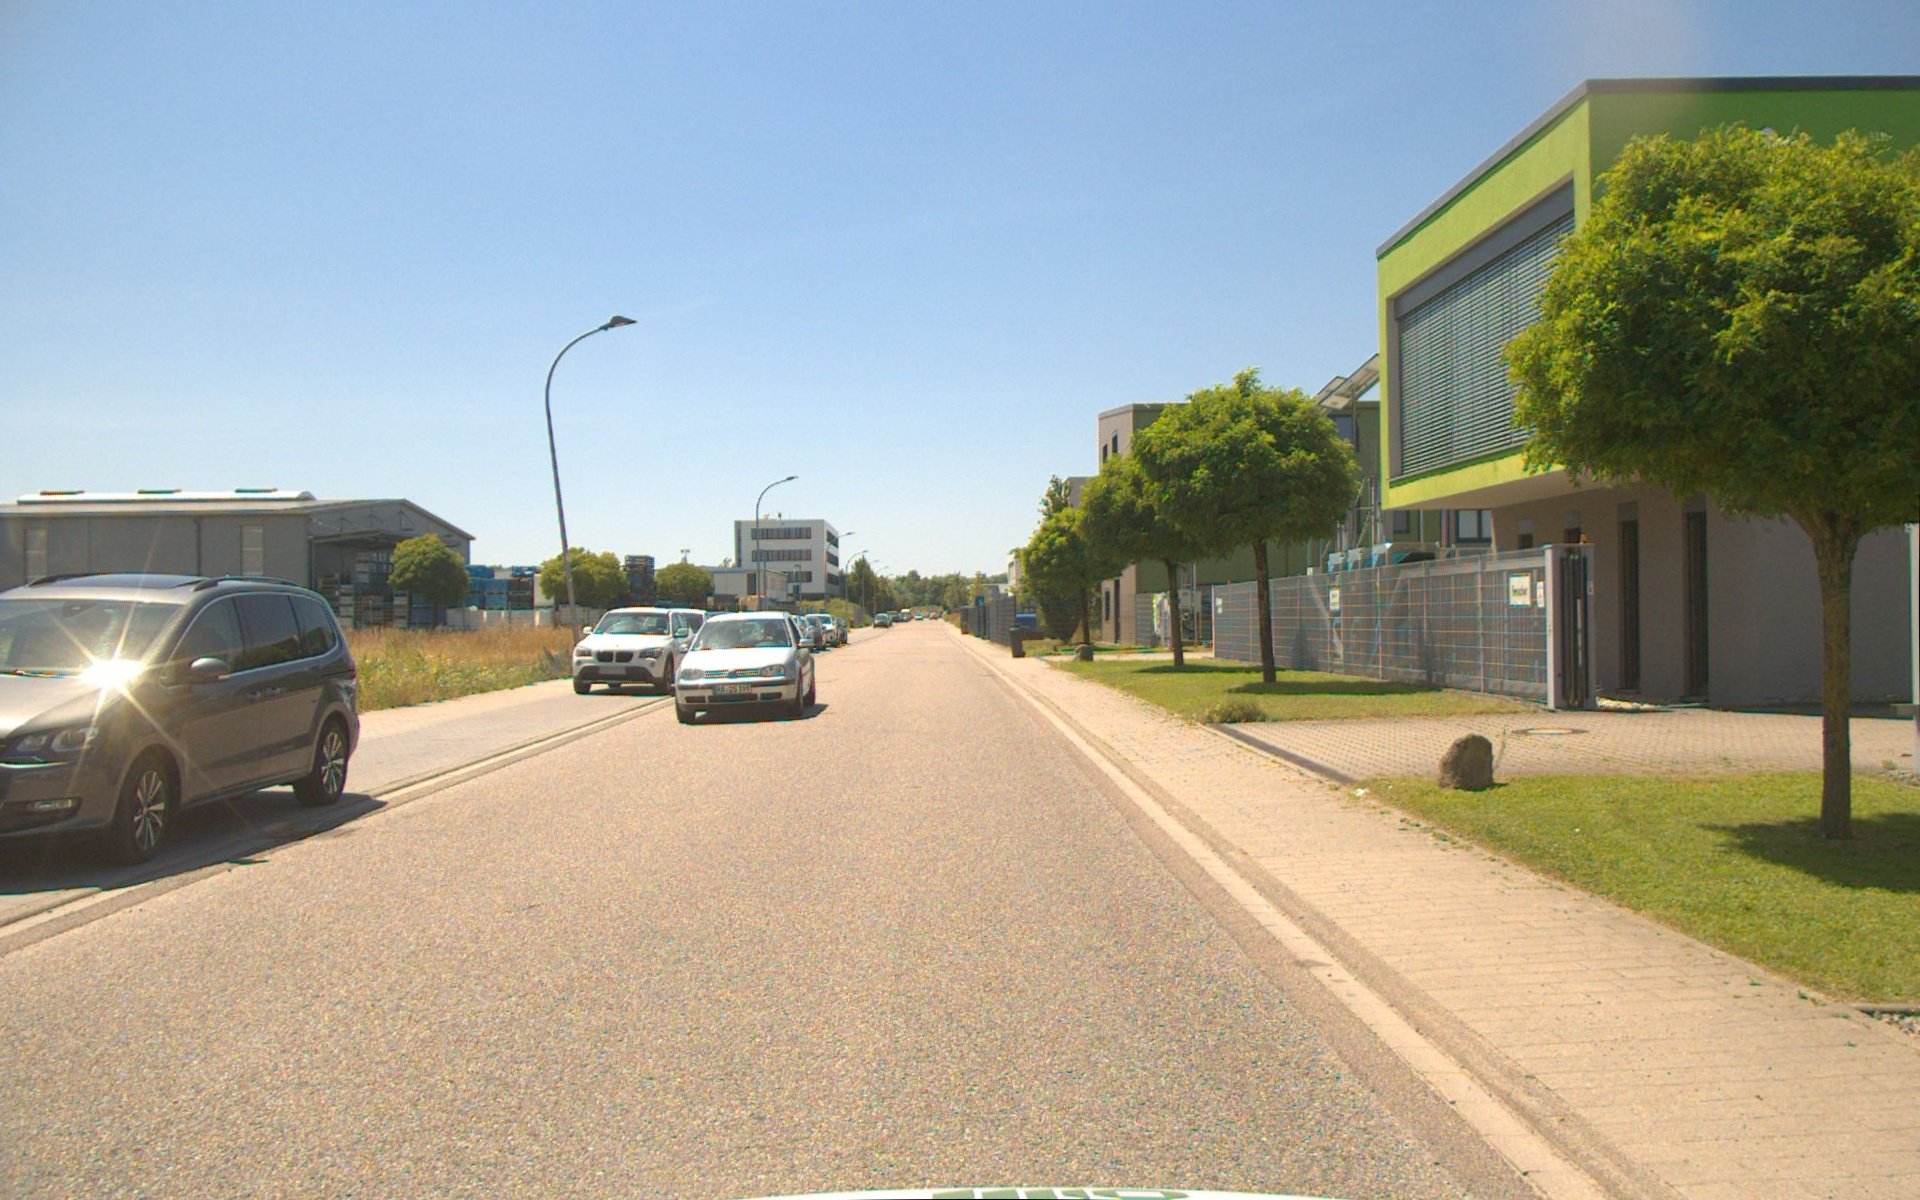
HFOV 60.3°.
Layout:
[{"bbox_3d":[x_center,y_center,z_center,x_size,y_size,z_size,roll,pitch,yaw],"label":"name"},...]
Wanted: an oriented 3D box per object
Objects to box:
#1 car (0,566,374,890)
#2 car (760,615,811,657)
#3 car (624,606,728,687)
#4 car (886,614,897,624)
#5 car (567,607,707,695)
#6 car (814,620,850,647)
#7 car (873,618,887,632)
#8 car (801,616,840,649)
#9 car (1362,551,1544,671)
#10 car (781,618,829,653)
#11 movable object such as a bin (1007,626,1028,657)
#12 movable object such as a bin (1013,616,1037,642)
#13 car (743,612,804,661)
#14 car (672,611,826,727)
[{"bbox_3d":[-5.666,0.699,11.241,1.766,1.750,4.621,1,0,-1],"label":"car"},{"bbox_3d":[-6.660,1.377,63.496,1.659,1.552,3.733,0,-1,-2],"label":"car"},{"bbox_3d":[-6.185,0.993,36.396,1.751,1.685,3.767,0,-1,-2],"label":"car"},{"bbox_3d":[-10.077,2.770,243.471,1.611,1.516,3.206,-1,-1,-1],"label":"car"},{"bbox_3d":[-6.060,0.925,31.479,1.750,1.569,4.364,0,-1,1],"label":"car"},{"bbox_3d":[-7.241,1.868,93.760,1.733,1.487,4.332,0,-1,-1],"label":"car"},{"bbox_3d":[-9.152,2.821,188.504,1.437,1.516,3.206,0,-1,-1],"label":"car"},{"bbox_3d":[-6.952,1.629,82.826,1.733,1.620,4.357,0,-1,-2],"label":"car"},{"bbox_3d":[11.774,0.284,40.141,2.086,2.537,7.023,-3,-1,-1],"label":"car"},{"bbox_3d":[-6.889,1.555,73.897,1.819,1.507,4.228,0,-1,-1],"label":"car"},{"bbox_3d":[1.828,1.314,52.462,0.540,0.944,0.522,-4,-1,9],"label":"movable object such as a bin"},{"bbox_3d":[3.878,1.721,98.952,1.307,1.485,0.948,-1,-1,-2],"label":"movable object such as a bin"},{"bbox_3d":[-6.439,1.256,57.448,1.754,1.635,4.460,0,-1,-2],"label":"car"},{"bbox_3d":[-2.971,0.920,24.175,1.670,1.436,4.782,-3,0,-1],"label":"car"}]
